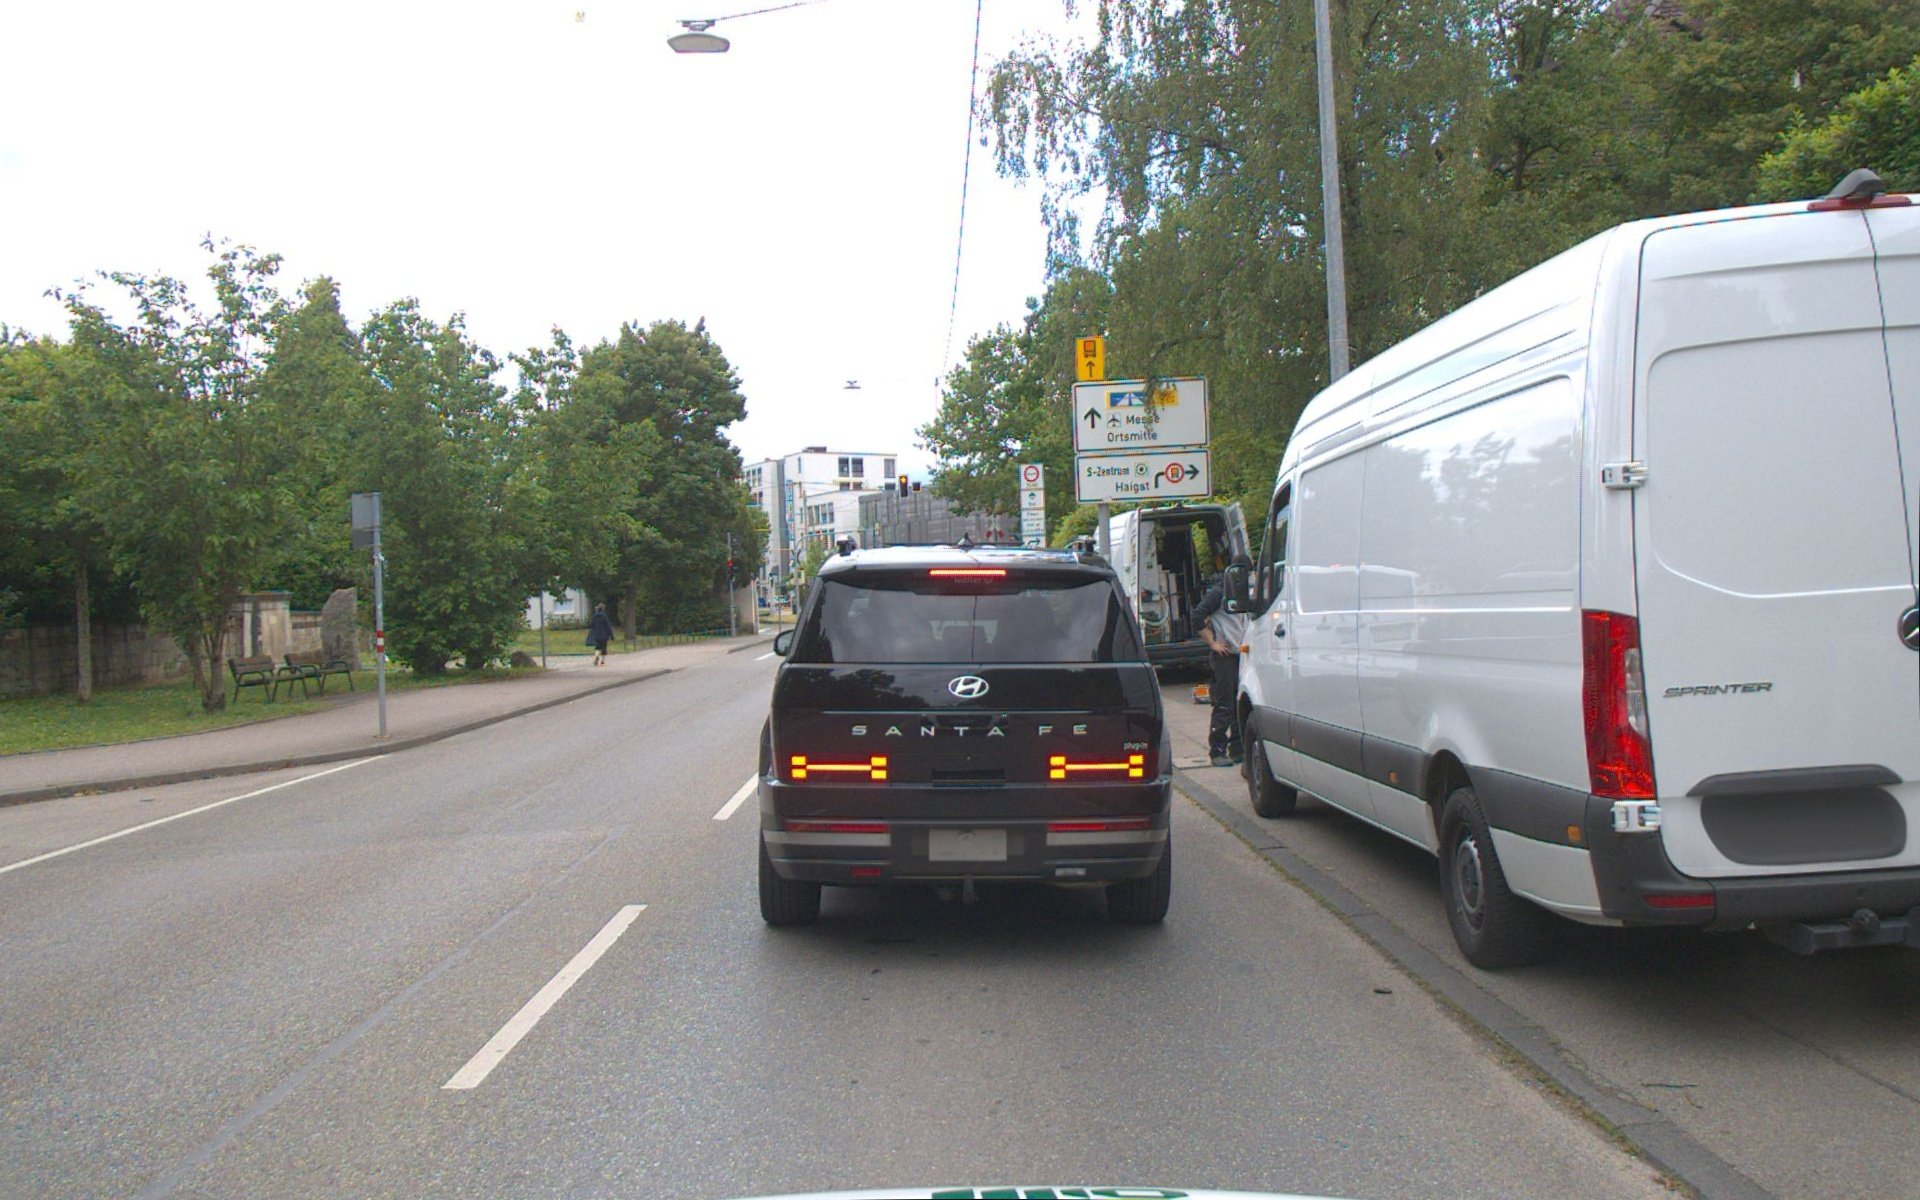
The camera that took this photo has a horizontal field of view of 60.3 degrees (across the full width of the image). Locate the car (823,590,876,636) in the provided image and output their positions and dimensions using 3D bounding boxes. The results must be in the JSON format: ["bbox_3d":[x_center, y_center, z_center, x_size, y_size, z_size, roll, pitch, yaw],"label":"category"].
[{"bbox_3d":[-4.441,0.514,67.229,1.822,1.686,4.305,-4,0,-1],"label":"car"}]

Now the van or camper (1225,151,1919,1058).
[{"bbox_3d":[2.894,-0.017,8.190,1.953,2.665,6.540,-2,0,-1],"label":"van or camper"}]

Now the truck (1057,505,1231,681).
[{"bbox_3d":[2.981,-0.096,28.046,1.904,2.606,5.212,-3,0,-4],"label":"truck"}]

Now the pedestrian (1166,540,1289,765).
[{"bbox_3d":[2.248,0.429,13.978,0.852,1.828,0.759,-2,0,-2],"label":"pedestrian"}]

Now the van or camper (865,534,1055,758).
[{"bbox_3d":[-0.029,0.422,17.494,1.719,2.049,3.999,-2,0,-1],"label":"van or camper"}]

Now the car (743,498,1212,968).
[{"bbox_3d":[0.042,0.516,8.551,1.851,1.851,3.999,0,0,-1],"label":"car"}]

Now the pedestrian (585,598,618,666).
[{"bbox_3d":[-9.400,0.838,43.396,0.724,1.745,0.791,-2,0,-8],"label":"pedestrian"}]
